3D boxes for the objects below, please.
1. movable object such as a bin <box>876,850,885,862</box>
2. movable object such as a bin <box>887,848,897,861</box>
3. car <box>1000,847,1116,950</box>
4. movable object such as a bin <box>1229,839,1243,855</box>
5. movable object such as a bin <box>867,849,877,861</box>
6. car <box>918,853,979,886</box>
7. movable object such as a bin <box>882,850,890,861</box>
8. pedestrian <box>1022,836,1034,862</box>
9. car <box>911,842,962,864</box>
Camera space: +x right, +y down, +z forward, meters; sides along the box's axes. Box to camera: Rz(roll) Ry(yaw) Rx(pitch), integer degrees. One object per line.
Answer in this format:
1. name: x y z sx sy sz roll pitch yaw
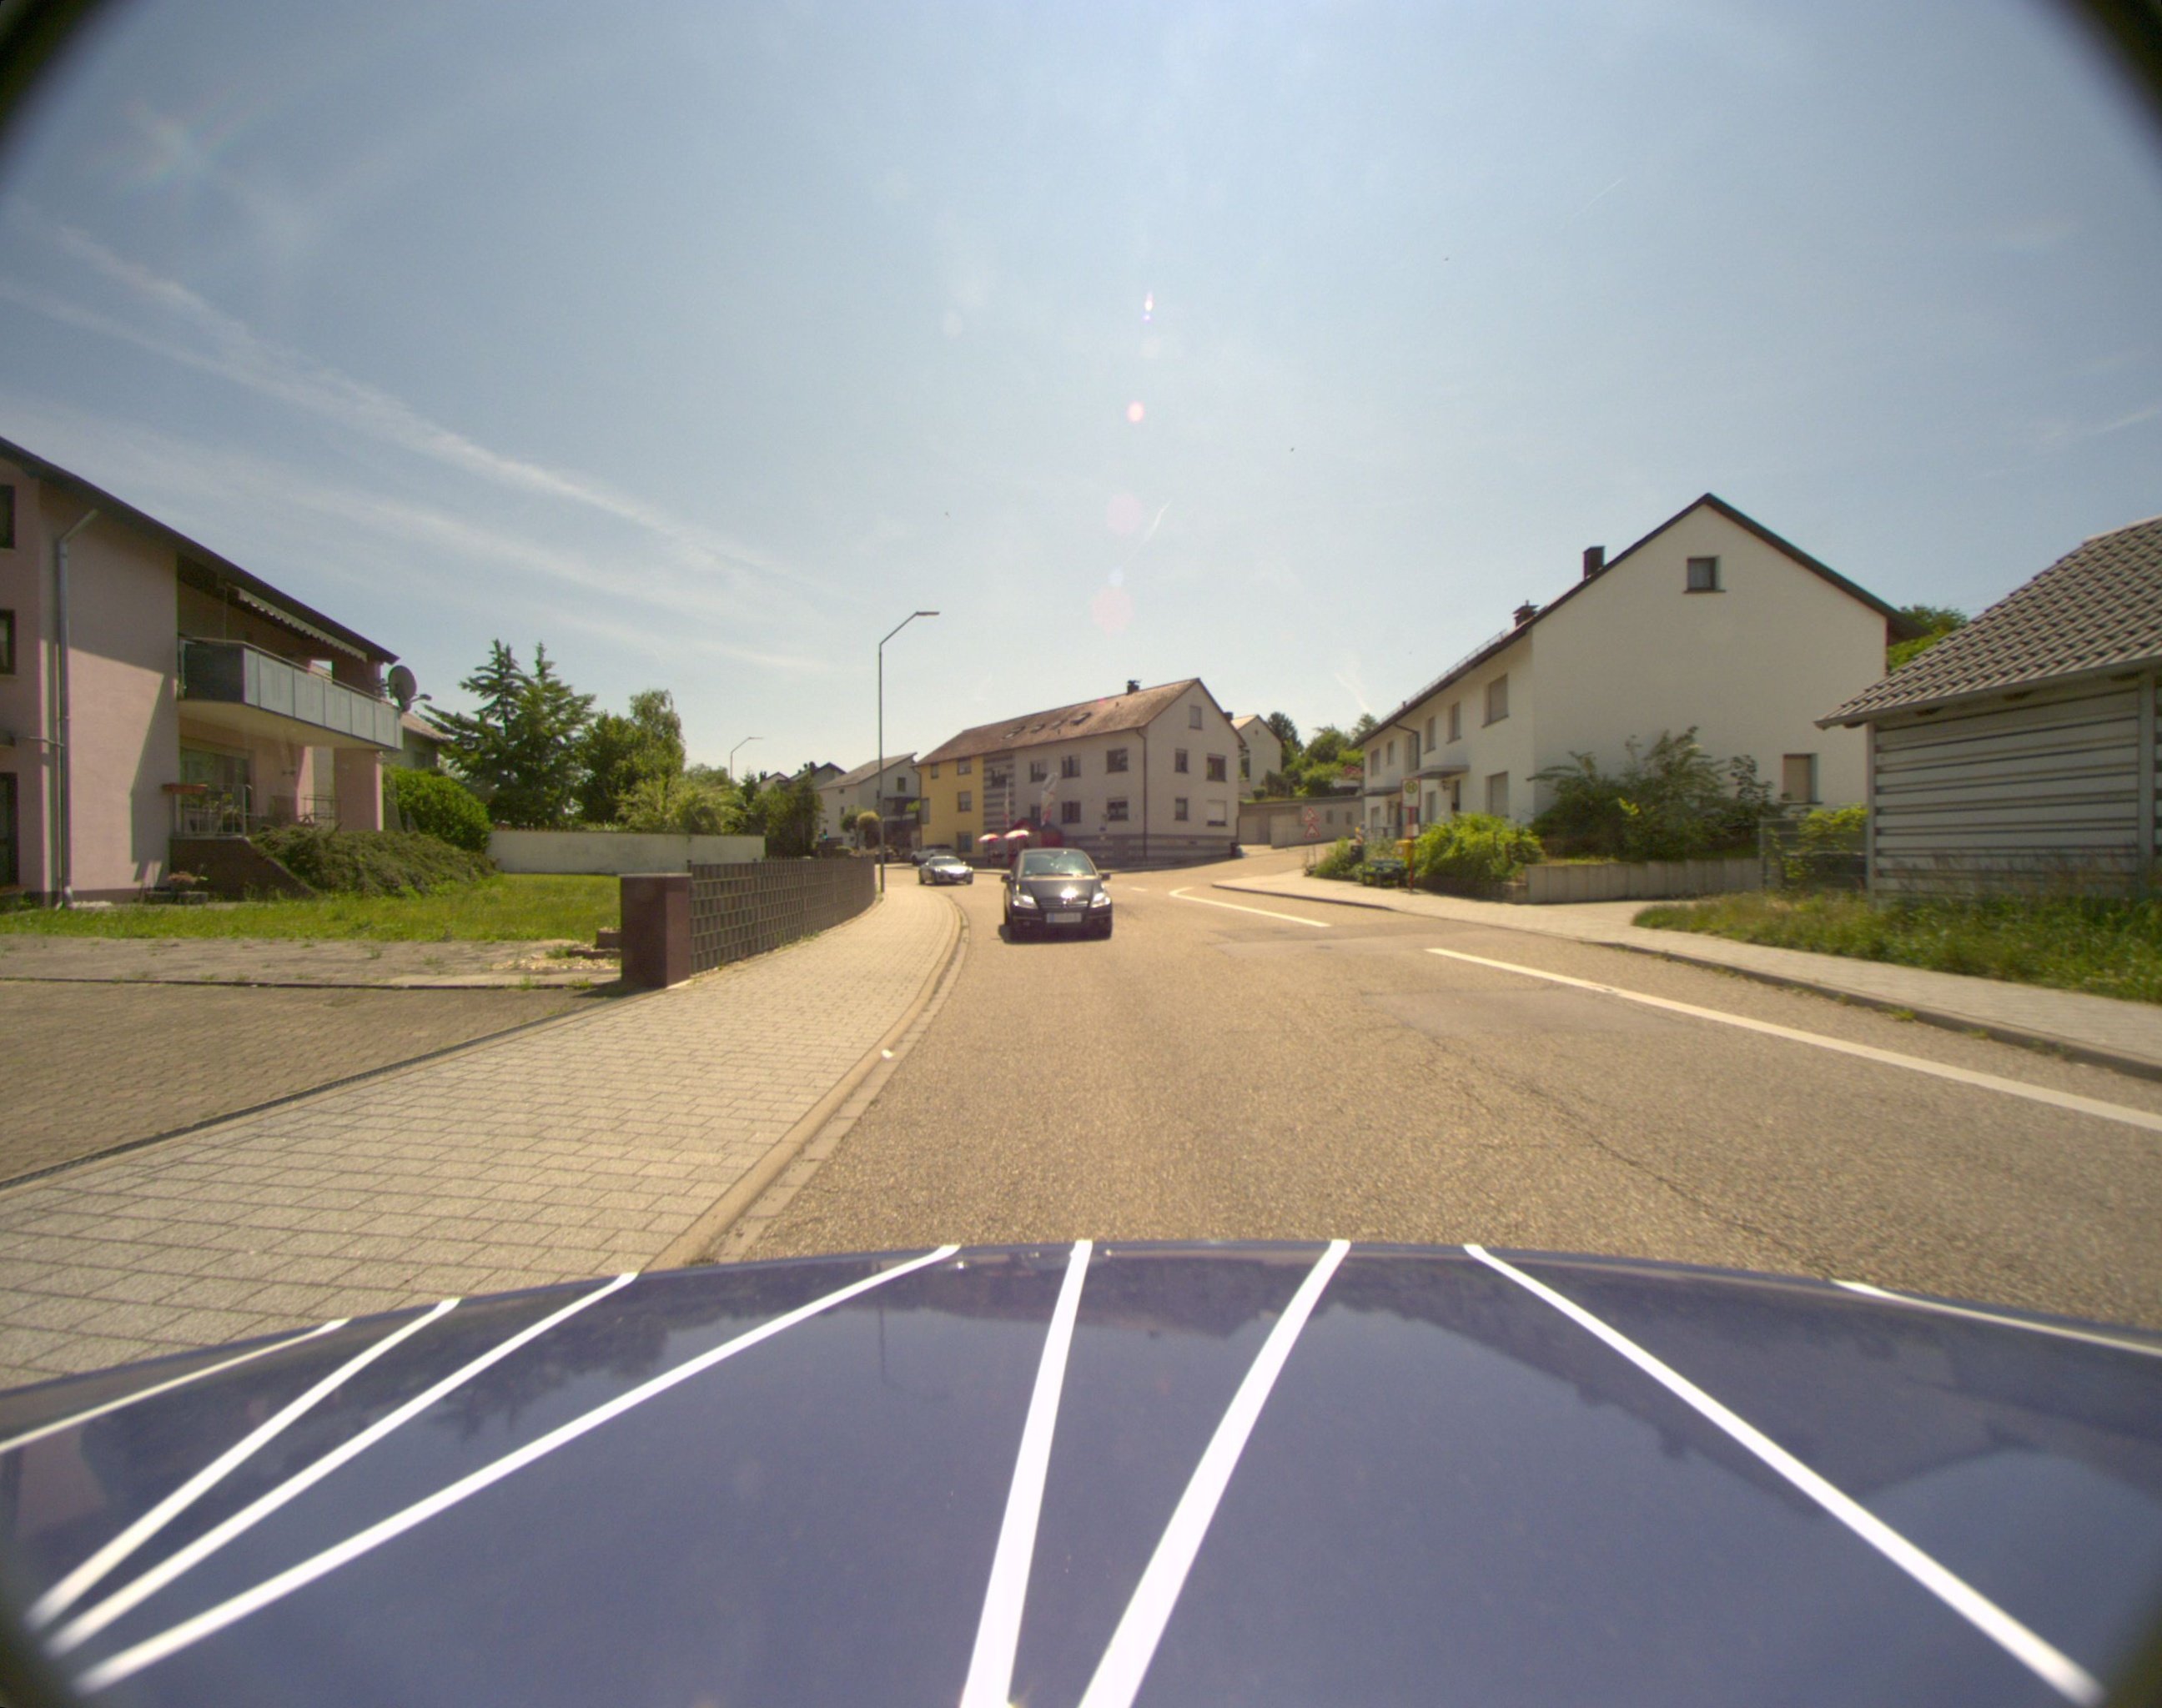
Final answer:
1. movable object such as a bin: -16.446 0.164 62.236 0.449 0.923 0.560 -3 3 -44
2. movable object such as a bin: -15.646 0.047 62.938 0.473 1.049 0.632 -3 3 -44
3. car: -0.595 0.713 14.649 1.765 1.583 4.194 -1 2 -8
4. movable object such as a bin: 9.139 -0.406 44.836 0.601 0.929 0.599 -2 2 -45
5. movable object such as a bin: -16.981 0.054 61.765 0.503 0.943 0.552 -3 3 -44
6. car: -5.995 0.663 33.993 1.817 1.307 3.992 -1 1 -23
7. movable object such as a bin: -16.093 0.137 62.613 0.449 0.933 0.529 -2 2 -44
8. pedestrian: -3.297 -0.302 47.485 0.613 1.578 0.808 -2 1 -10
9. car: -10.561 -0.113 55.349 1.739 1.543 4.176 -2 2 -42
